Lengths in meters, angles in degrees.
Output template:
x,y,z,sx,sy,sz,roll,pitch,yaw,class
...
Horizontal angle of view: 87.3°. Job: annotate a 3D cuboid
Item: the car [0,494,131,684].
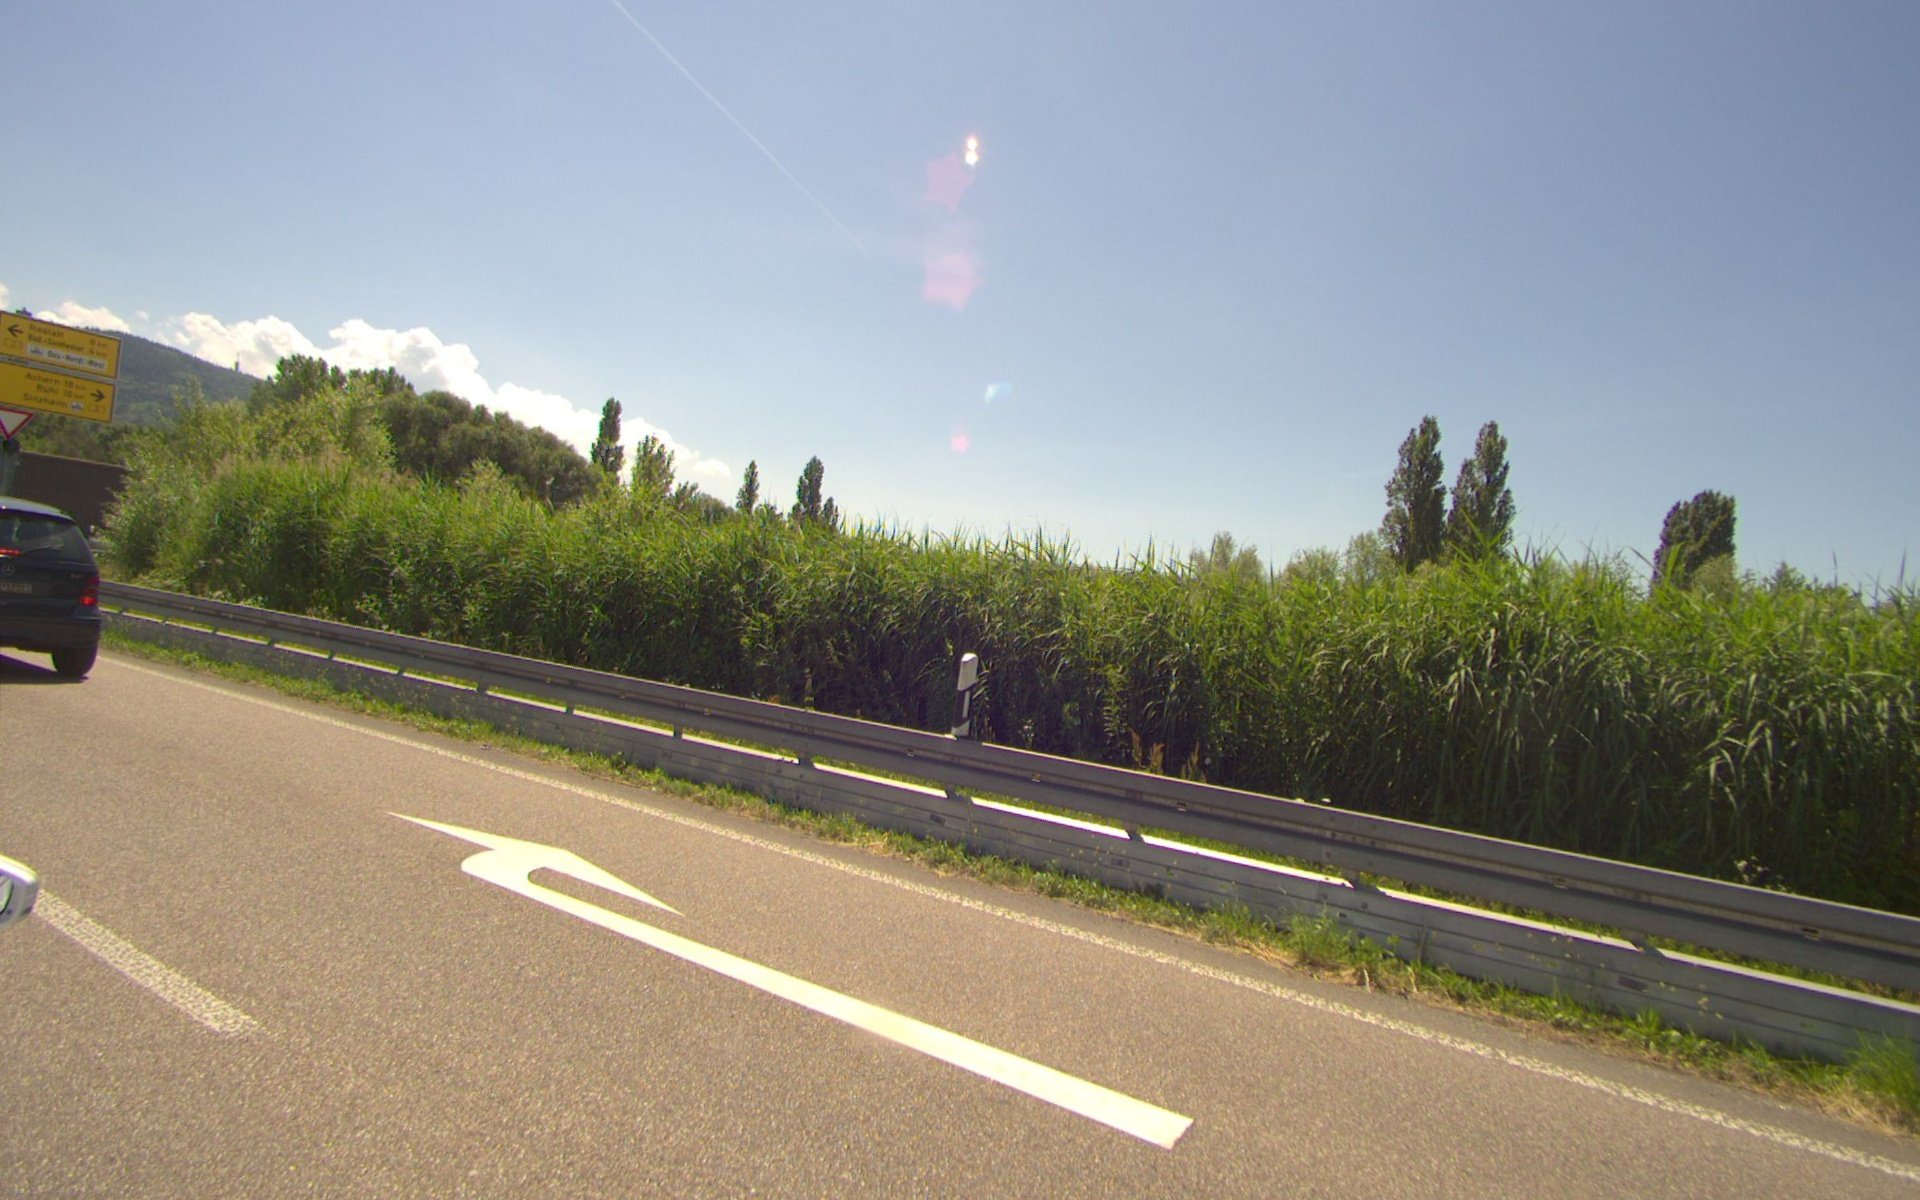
x,y,z,sx,sy,sz,roll,pitch,yaw,class
-9.828,-0.263,9.594,3.492,1.619,1.672,6,-2,29,car
